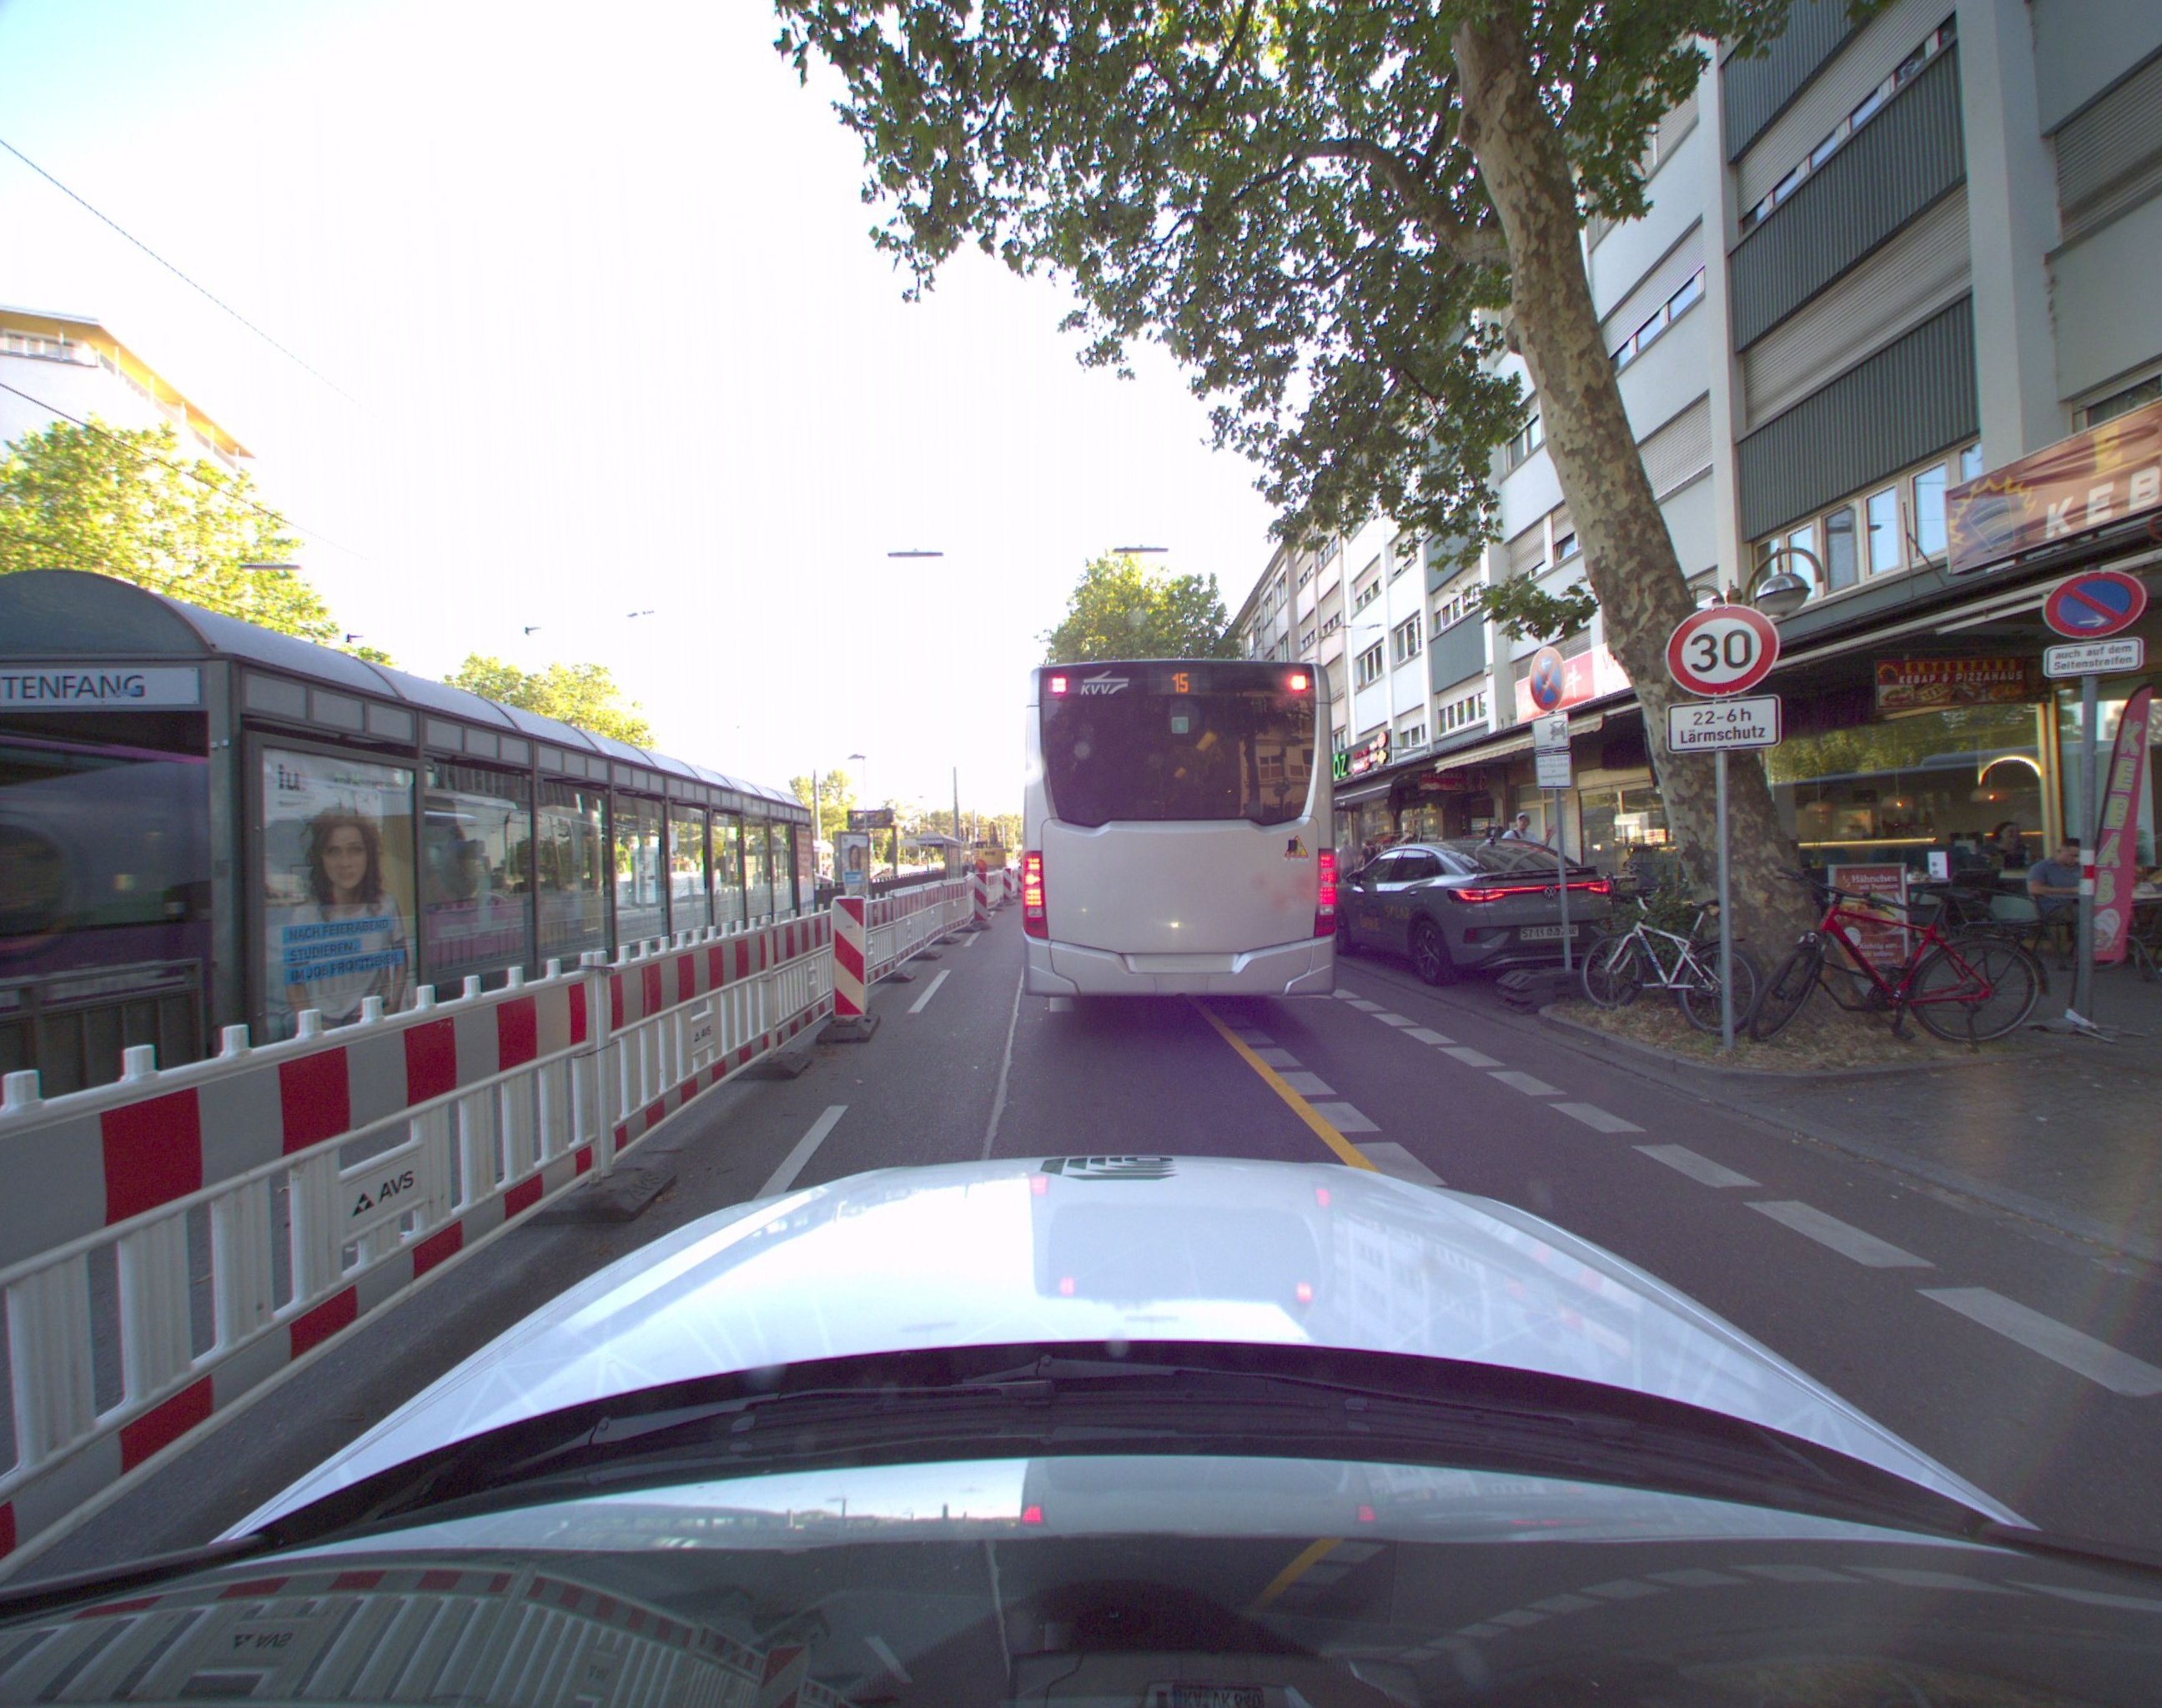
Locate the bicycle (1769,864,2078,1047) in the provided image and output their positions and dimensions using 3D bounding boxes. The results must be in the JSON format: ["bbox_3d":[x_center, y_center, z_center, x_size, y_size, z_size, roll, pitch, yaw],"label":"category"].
[{"bbox_3d":[5.498,0.673,5.366,1.450,1.066,0.297,-6,2,13],"label":"bicycle"}]

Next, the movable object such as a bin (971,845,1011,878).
[{"bbox_3d":[-7.044,0.595,64.002,2.800,2.462,3.995,-2,0,-3],"label":"movable object such as a bin"}]

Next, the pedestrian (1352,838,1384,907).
[{"bbox_3d":[8.537,0.546,24.244,0.611,2.014,0.696,-2,-1,-3],"label":"pedestrian"}]

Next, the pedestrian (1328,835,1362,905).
[{"bbox_3d":[7.812,0.474,24.123,0.689,2.014,0.696,-2,-1,-1],"label":"pedestrian"}]

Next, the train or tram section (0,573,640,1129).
[{"bbox_3d":[-8.418,0.036,8.284,2.811,3.487,10.322,-2,0,-4],"label":"train or tram section"}]

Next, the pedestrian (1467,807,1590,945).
[{"bbox_3d":[6.522,0.300,11.926,1.025,1.890,1.116,-2,-1,-18],"label":"pedestrian"}]

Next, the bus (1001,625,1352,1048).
[{"bbox_3d":[0.921,-0.124,11.357,2.598,3.170,10.297,-1,0,2],"label":"bus"}]

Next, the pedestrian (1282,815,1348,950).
[{"bbox_3d":[3.638,0.440,12.647,0.762,2.013,0.718,-4,-1,24],"label":"pedestrian"}]

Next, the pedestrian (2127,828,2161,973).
[{"bbox_3d":[9.565,0.386,6.807,0.612,1.243,0.714,-5,-1,11],"label":"pedestrian"}]

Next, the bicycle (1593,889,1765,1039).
[{"bbox_3d":[4.485,0.785,6.185,0.294,0.927,1.127,-6,2,-8],"label":"bicycle"}]

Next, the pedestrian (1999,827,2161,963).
[{"bbox_3d":[9.627,0.382,7.843,0.673,1.203,0.706,-5,-1,11],"label":"pedestrian"}]

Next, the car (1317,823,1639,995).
[{"bbox_3d":[4.608,0.560,10.309,1.736,1.597,4.294,-4,0,-3],"label":"car"}]
